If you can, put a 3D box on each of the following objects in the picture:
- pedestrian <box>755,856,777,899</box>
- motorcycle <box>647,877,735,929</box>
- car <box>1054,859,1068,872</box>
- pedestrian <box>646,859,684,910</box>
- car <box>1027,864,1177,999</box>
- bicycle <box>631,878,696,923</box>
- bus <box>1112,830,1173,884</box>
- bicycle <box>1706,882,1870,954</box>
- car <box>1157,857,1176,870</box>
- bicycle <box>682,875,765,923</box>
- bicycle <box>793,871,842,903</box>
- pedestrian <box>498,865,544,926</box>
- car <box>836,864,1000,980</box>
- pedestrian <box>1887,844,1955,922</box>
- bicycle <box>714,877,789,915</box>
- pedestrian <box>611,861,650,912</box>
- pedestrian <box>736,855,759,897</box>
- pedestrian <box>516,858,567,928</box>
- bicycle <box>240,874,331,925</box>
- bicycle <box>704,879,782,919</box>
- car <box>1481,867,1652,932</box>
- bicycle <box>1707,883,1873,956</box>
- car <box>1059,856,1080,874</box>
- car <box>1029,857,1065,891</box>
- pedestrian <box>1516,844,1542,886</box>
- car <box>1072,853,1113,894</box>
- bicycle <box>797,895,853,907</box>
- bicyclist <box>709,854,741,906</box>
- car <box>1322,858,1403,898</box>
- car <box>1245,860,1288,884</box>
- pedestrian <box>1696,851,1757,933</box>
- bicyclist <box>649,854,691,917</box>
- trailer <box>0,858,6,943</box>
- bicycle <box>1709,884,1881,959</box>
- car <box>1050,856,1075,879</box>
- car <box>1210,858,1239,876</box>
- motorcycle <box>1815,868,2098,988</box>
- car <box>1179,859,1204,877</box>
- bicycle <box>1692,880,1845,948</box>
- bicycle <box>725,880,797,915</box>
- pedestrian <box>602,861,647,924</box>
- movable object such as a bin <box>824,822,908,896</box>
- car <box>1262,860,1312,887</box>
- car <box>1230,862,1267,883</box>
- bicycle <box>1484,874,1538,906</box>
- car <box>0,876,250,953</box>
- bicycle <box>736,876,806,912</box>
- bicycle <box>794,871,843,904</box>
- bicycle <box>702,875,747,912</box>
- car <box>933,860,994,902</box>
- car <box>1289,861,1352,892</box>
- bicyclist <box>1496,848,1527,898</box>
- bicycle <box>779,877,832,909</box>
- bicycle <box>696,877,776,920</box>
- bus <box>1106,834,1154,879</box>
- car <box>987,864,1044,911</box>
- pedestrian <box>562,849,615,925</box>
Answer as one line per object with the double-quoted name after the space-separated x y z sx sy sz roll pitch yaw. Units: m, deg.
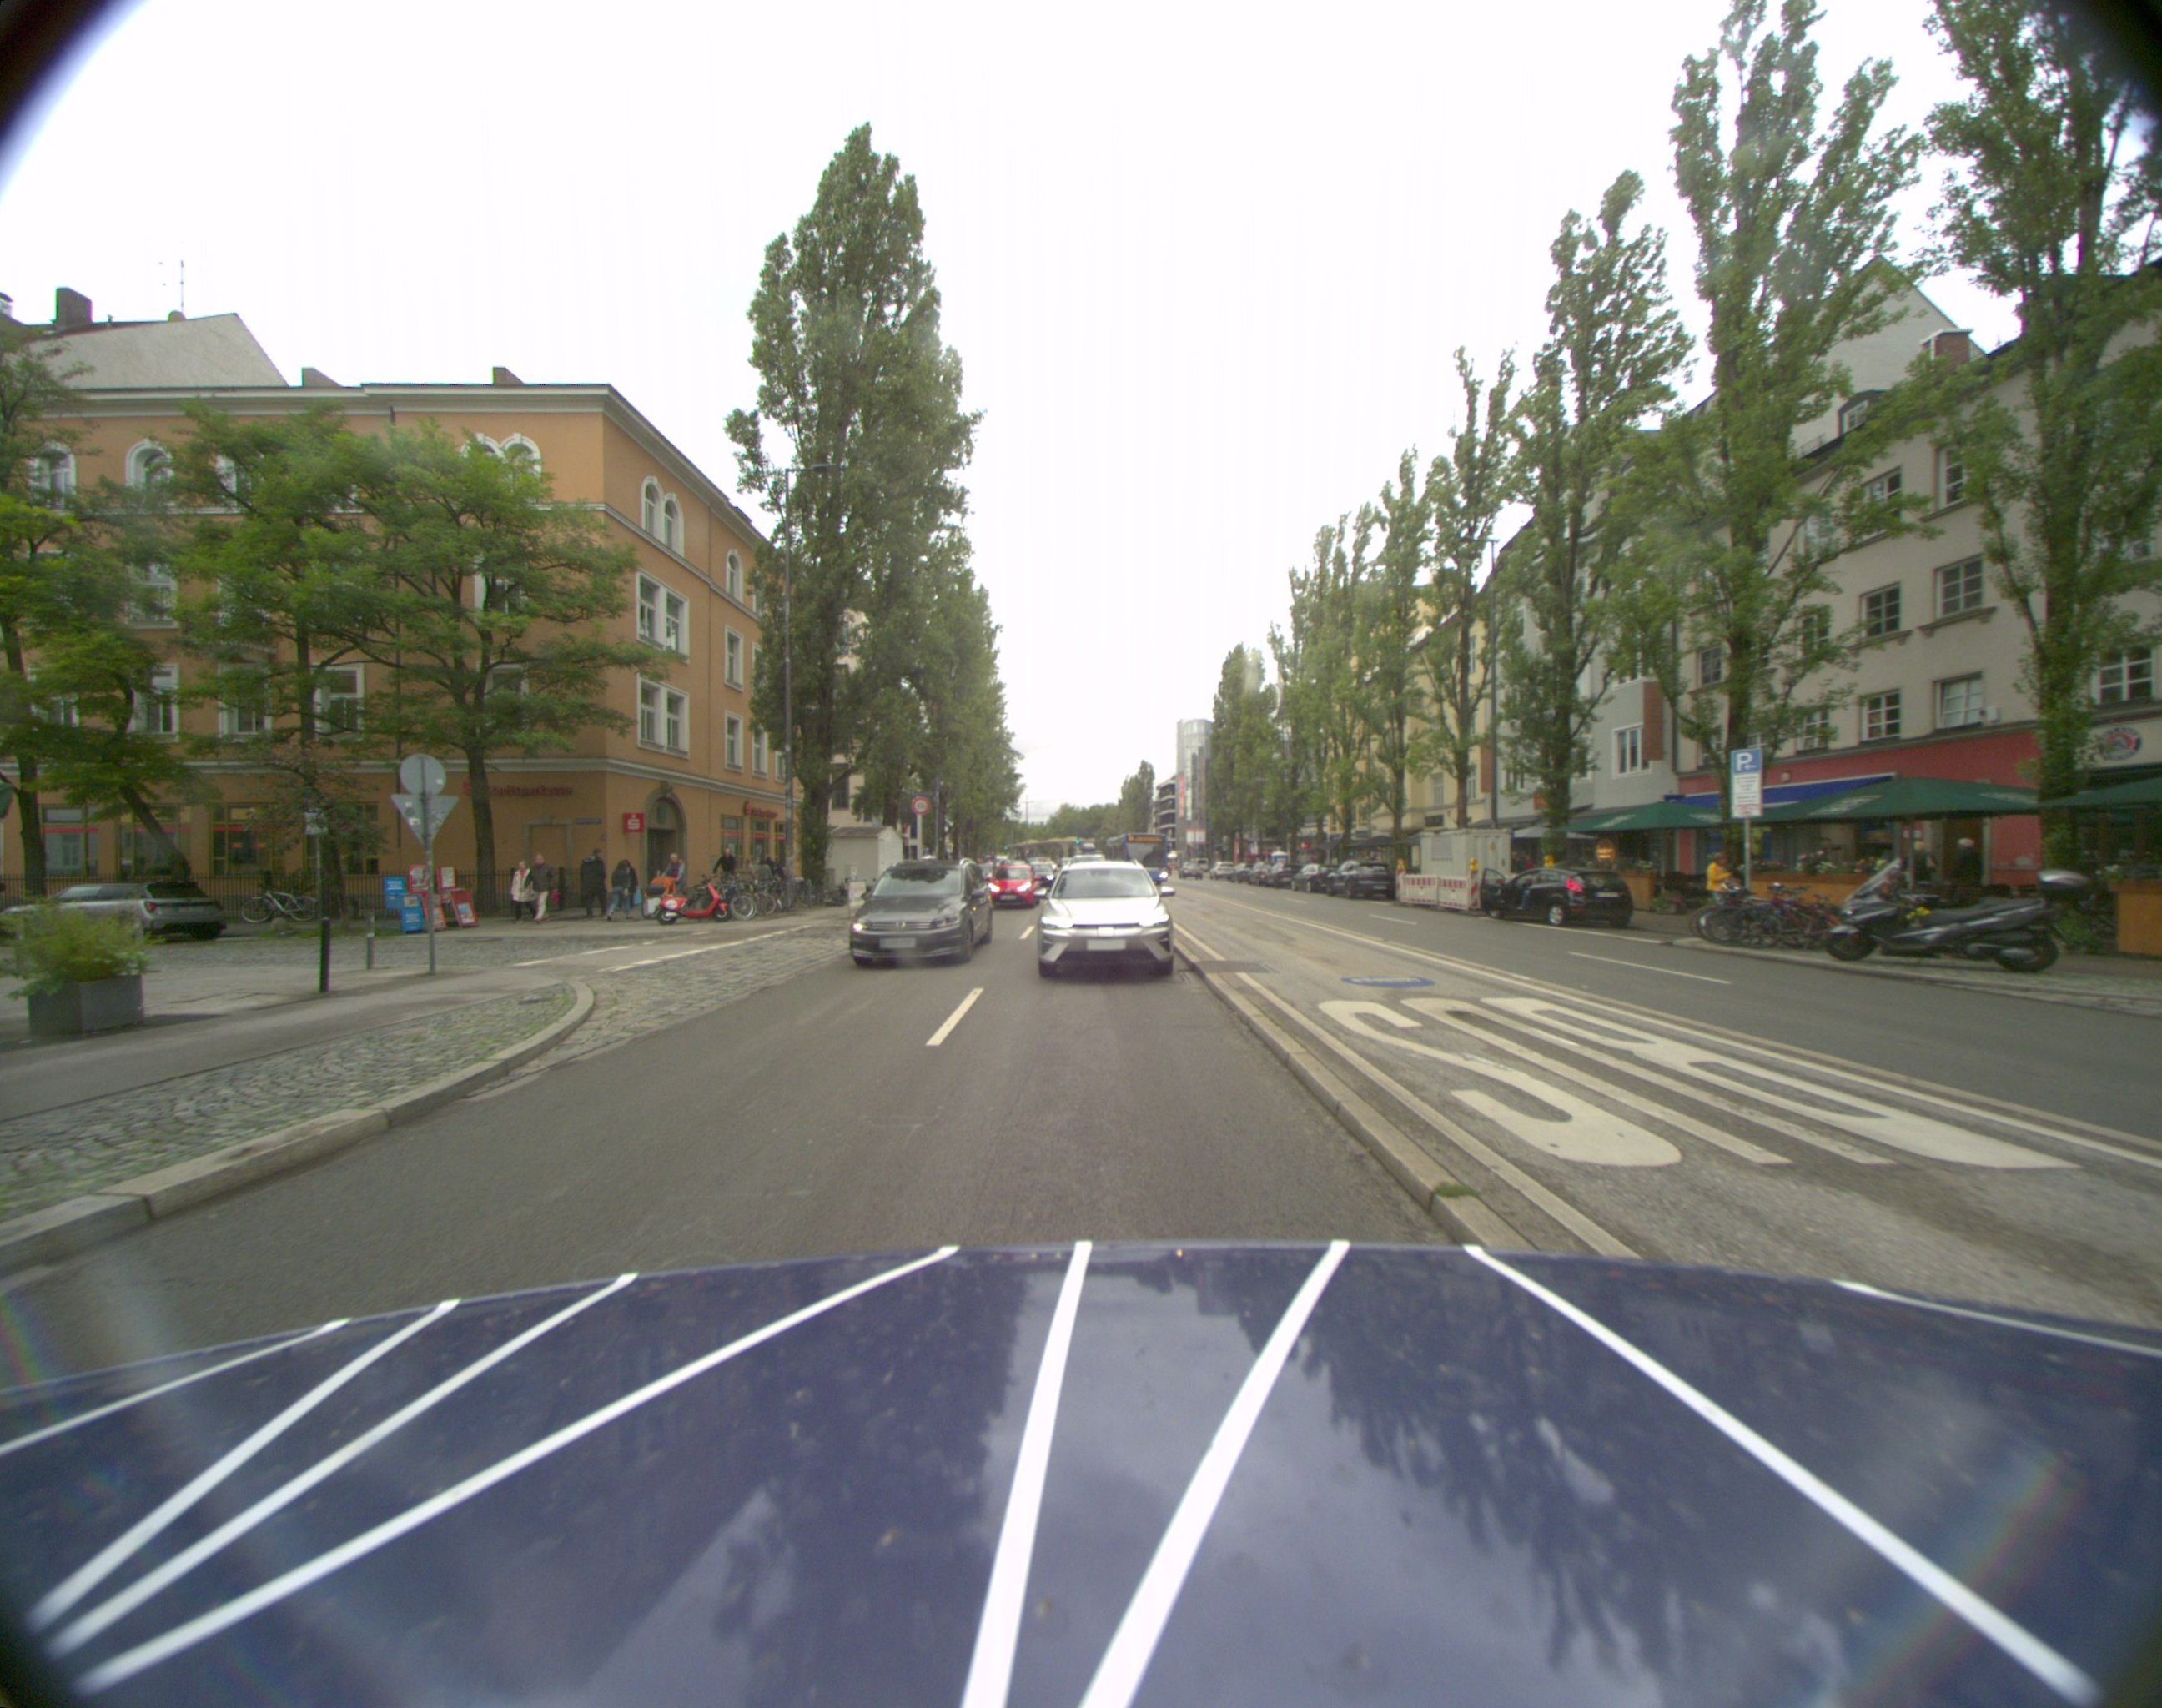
-12.779 0.955 30.839 0.619 1.684 0.574 -2 1 -5 "pedestrian"
-9.883 1.220 19.334 1.963 1.214 0.514 -1 0 -25 "motorcycle"
-2.671 1.544 104.264 1.789 1.604 4.498 -2 0 0 "car"
-13.125 0.955 23.985 0.745 1.562 0.614 -2 1 3 "pedestrian"
0.245 0.953 11.117 1.742 1.509 4.033 -2 0 0 "car"
-11.644 1.271 21.275 0.887 1.113 2.100 -1 0 -9 "bicycle"
3.609 0.168 47.120 2.696 2.932 10.051 -1 0 -1 "bus"
11.804 1.048 12.770 1.976 1.119 0.283 -2 1 37 "bicycle"
10.082 1.088 89.527 1.750 1.509 4.363 0 0 0 "car"
-9.539 1.197 20.297 1.945 1.232 0.561 -1 0 1 "bicycle"
-9.357 1.177 26.995 1.610 1.078 0.321 -1 0 -22 "bicycle"
-14.708 1.078 19.962 0.699 1.562 0.575 -2 1 3 "pedestrian"
-2.570 1.004 13.049 1.882 1.582 4.192 -2 0 0 "car"
21.101 0.716 19.102 0.699 1.915 0.905 0 0 3 "pedestrian"
-9.661 1.240 22.334 1.945 1.069 0.561 -1 0 1 "bicycle"
-14.151 1.009 23.883 0.745 1.562 0.664 -2 1 3 "pedestrian"
-13.467 0.885 30.702 0.634 1.684 0.574 -2 1 -3 "pedestrian"
-13.968 0.990 19.699 0.699 1.756 0.732 -2 1 3 "pedestrian"
-22.462 1.282 21.473 1.945 1.364 0.561 -2 0 1 "bicycle"
-9.598 1.276 21.591 1.945 1.082 0.561 -1 0 1 "bicycle"
12.039 1.059 19.148 1.760 1.414 3.784 1 0 -3 "car"
11.631 1.056 12.545 1.976 1.119 0.283 -2 1 37 "bicycle"
-1.117 1.055 73.936 1.707 1.683 4.001 -2 0 -5 "car"
-1.910 1.031 41.328 1.707 1.683 4.001 -2 0 -5 "car"
20.549 0.486 34.883 0.699 1.915 0.905 0 0 3 "pedestrian"
0.528 0.911 38.237 1.839 1.831 5.129 -2 1 0 "car"
-8.716 1.604 25.919 1.677 0.371 0.830 1 0 -7 "bicycle"
-11.795 0.852 25.168 0.741 1.677 0.748 -1 0 -7 "bicyclist"
11.906 0.961 32.481 1.802 1.603 4.574 0 0 1 "car"
12.262 1.142 50.405 1.802 1.495 4.574 0 0 1 "car"
13.965 0.807 16.451 0.699 1.716 0.732 0 0 -2 "pedestrian"
-11.681 0.891 21.603 0.831 1.747 0.667 -1 0 -8 "bicyclist"
-28.231 1.157 17.091 5.252 2.016 1.906 -1 0 -1 "trailer"
11.441 1.058 12.260 1.976 1.119 0.361 -2 1 37 "bicycle"
-1.500 1.055 60.597 1.707 1.683 4.001 -2 0 -5 "car"
12.537 1.106 66.526 1.802 1.568 4.105 0 0 1 "car"
11.789 0.916 10.363 0.747 1.406 2.448 0 0 -33 "motorcycle"
10.094 1.228 69.501 1.718 1.532 4.077 1 0 1 "car"
12.110 1.043 13.461 1.976 1.119 0.343 -2 1 37 "bicycle"
-9.649 1.296 22.939 1.945 1.004 0.561 -1 0 1 "bicycle"
-12.334 1.027 20.553 0.746 1.651 0.770 -2 1 -11 "pedestrian"
-9.662 0.219 34.624 2.445 3.118 4.544 1 0 1 "movable object such as a bin"
12.116 1.119 44.993 1.802 1.431 4.574 0 0 1 "car"
12.307 1.342 56.011 1.802 1.431 4.574 0 0 1 "car"
14.639 1.210 25.927 0.613 0.963 2.174 -1 0 1 "bicycle"
-22.431 1.372 17.659 3.997 1.511 1.906 -2 1 -1 "car"
-9.642 1.248 23.687 1.945 1.078 0.561 -1 0 1 "bicycle"
-9.199 1.165 26.664 1.604 1.078 0.341 -1 0 -22 "bicycle"
-11.793 1.278 25.209 0.737 1.113 2.100 -1 0 -8 "bicycle"
-4.825 1.069 31.750 1.789 1.544 4.498 -2 0 0 "car"
12.033 1.071 38.476 1.802 1.431 4.574 0 0 1 "car"
14.638 0.635 25.827 0.606 1.695 0.816 -1 1 1 "bicyclist"
-9.078 1.286 25.089 1.602 1.004 0.342 -1 0 -7 "bicycle"
-9.502 1.220 20.941 1.945 1.130 0.561 -1 0 1 "bicycle"
3.441 0.173 55.716 2.690 2.932 10.051 -1 0 -1 "bus"
-2.228 1.111 26.566 1.616 1.425 4.003 -2 0 0 "car"
-13.088 0.856 20.208 0.840 1.937 0.801 -2 1 -7 "pedestrian"
